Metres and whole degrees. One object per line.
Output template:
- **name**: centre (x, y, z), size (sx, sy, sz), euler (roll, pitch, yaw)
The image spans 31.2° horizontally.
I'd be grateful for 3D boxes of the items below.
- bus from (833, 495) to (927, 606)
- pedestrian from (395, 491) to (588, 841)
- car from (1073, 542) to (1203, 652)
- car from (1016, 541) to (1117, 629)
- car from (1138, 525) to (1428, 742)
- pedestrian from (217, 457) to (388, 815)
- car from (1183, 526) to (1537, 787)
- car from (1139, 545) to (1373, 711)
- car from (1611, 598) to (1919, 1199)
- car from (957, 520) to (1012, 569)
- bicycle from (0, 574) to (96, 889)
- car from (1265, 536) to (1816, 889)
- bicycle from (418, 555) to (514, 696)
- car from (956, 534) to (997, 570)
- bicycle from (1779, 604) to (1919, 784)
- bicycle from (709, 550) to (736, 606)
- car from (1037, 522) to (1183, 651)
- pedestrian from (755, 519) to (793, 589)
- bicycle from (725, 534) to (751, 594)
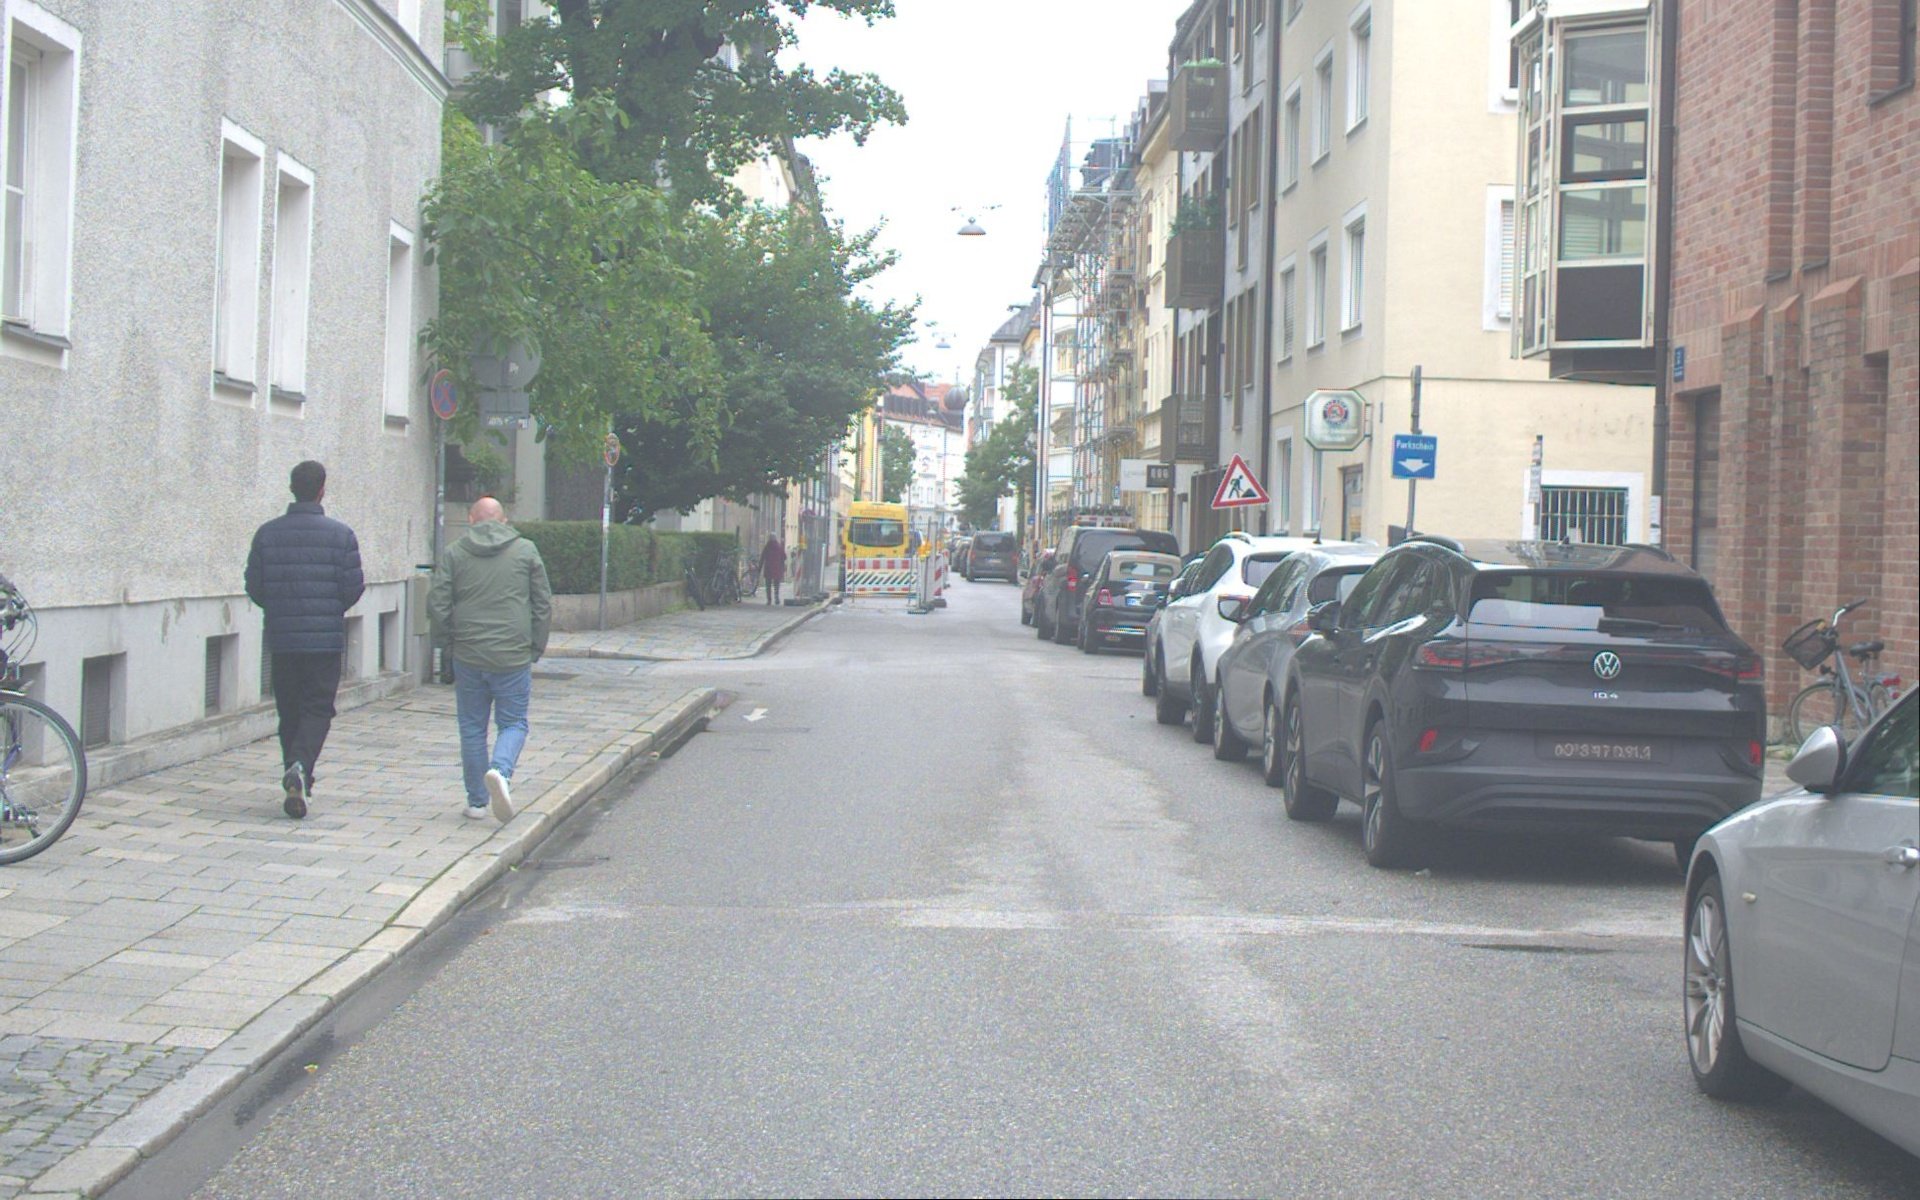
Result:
- **bus**: centre (-2.287, -1.423, 99.960), size (2.593, 3.091, 6.306), euler (1, 1, 0)
- **pedestrian**: centre (-2.322, 0.315, 17.124), size (0.753, 1.653, 0.906), euler (3, 0, -1)
- **car**: centre (2.554, -0.075, 50.027), size (1.624, 1.482, 3.808), euler (2, 1, 0)
- **car**: centre (2.018, -0.313, 66.268), size (1.635, 1.509, 3.829), euler (5, 1, -1)
- **car**: centre (2.560, 0.216, 28.183), size (1.748, 1.624, 4.197), euler (1, 1, -3)
- **pedestrian**: centre (-3.262, 0.170, 17.116), size (0.612, 1.707, 0.823), euler (3, 0, -1)
- **car**: centre (2.653, 0.337, 23.617), size (1.721, 1.630, 3.882), euler (1, 1, -4)
- **car**: centre (2.788, 0.222, 33.197), size (1.744, 1.440, 4.000), euler (2, 1, -2)
- **car**: centre (2.969, 0.774, 8.060), size (1.836, 1.412, 4.601), euler (2, 1, -2)
- **car**: centre (0.932, -2.141, 132.181), size (1.801, 1.706, 3.827), euler (5, 1, -2)
- **bicycle**: centre (-3.962, 0.503, 14.107), size (0.641, 1.213, 1.665), euler (0, 1, -20)
- **car**: centre (2.848, 0.476, 17.905), size (1.885, 1.550, 4.392), euler (2, 1, -3)
- **bicycle**: centre (-4.139, 0.195, 28.716), size (0.473, 1.107, 1.761), euler (2, 1, -18)
- **car**: centre (0.773, -2.243, 160.456), size (1.801, 1.608, 4.000), euler (2, 1, 0)
- **bicycle**: centre (5.744, 0.585, 22.122), size (0.559, 1.075, 1.472), euler (2, 1, 0)
- **bicycle**: centre (-4.702, -0.442, 68.129), size (0.446, 1.069, 2.468), euler (1, 1, -2)
- **car**: centre (2.335, -0.251, 54.385), size (1.801, 1.814, 4.001), euler (5, 1, -3)
- **pedestrian**: centre (-3.996, -0.981, 73.932), size (0.756, 1.486, 0.831), euler (1, 0, 0)
- **bicycle**: centre (-5.219, -0.847, 80.928), size (0.514, 1.413, 1.934), euler (1, 1, -1)
